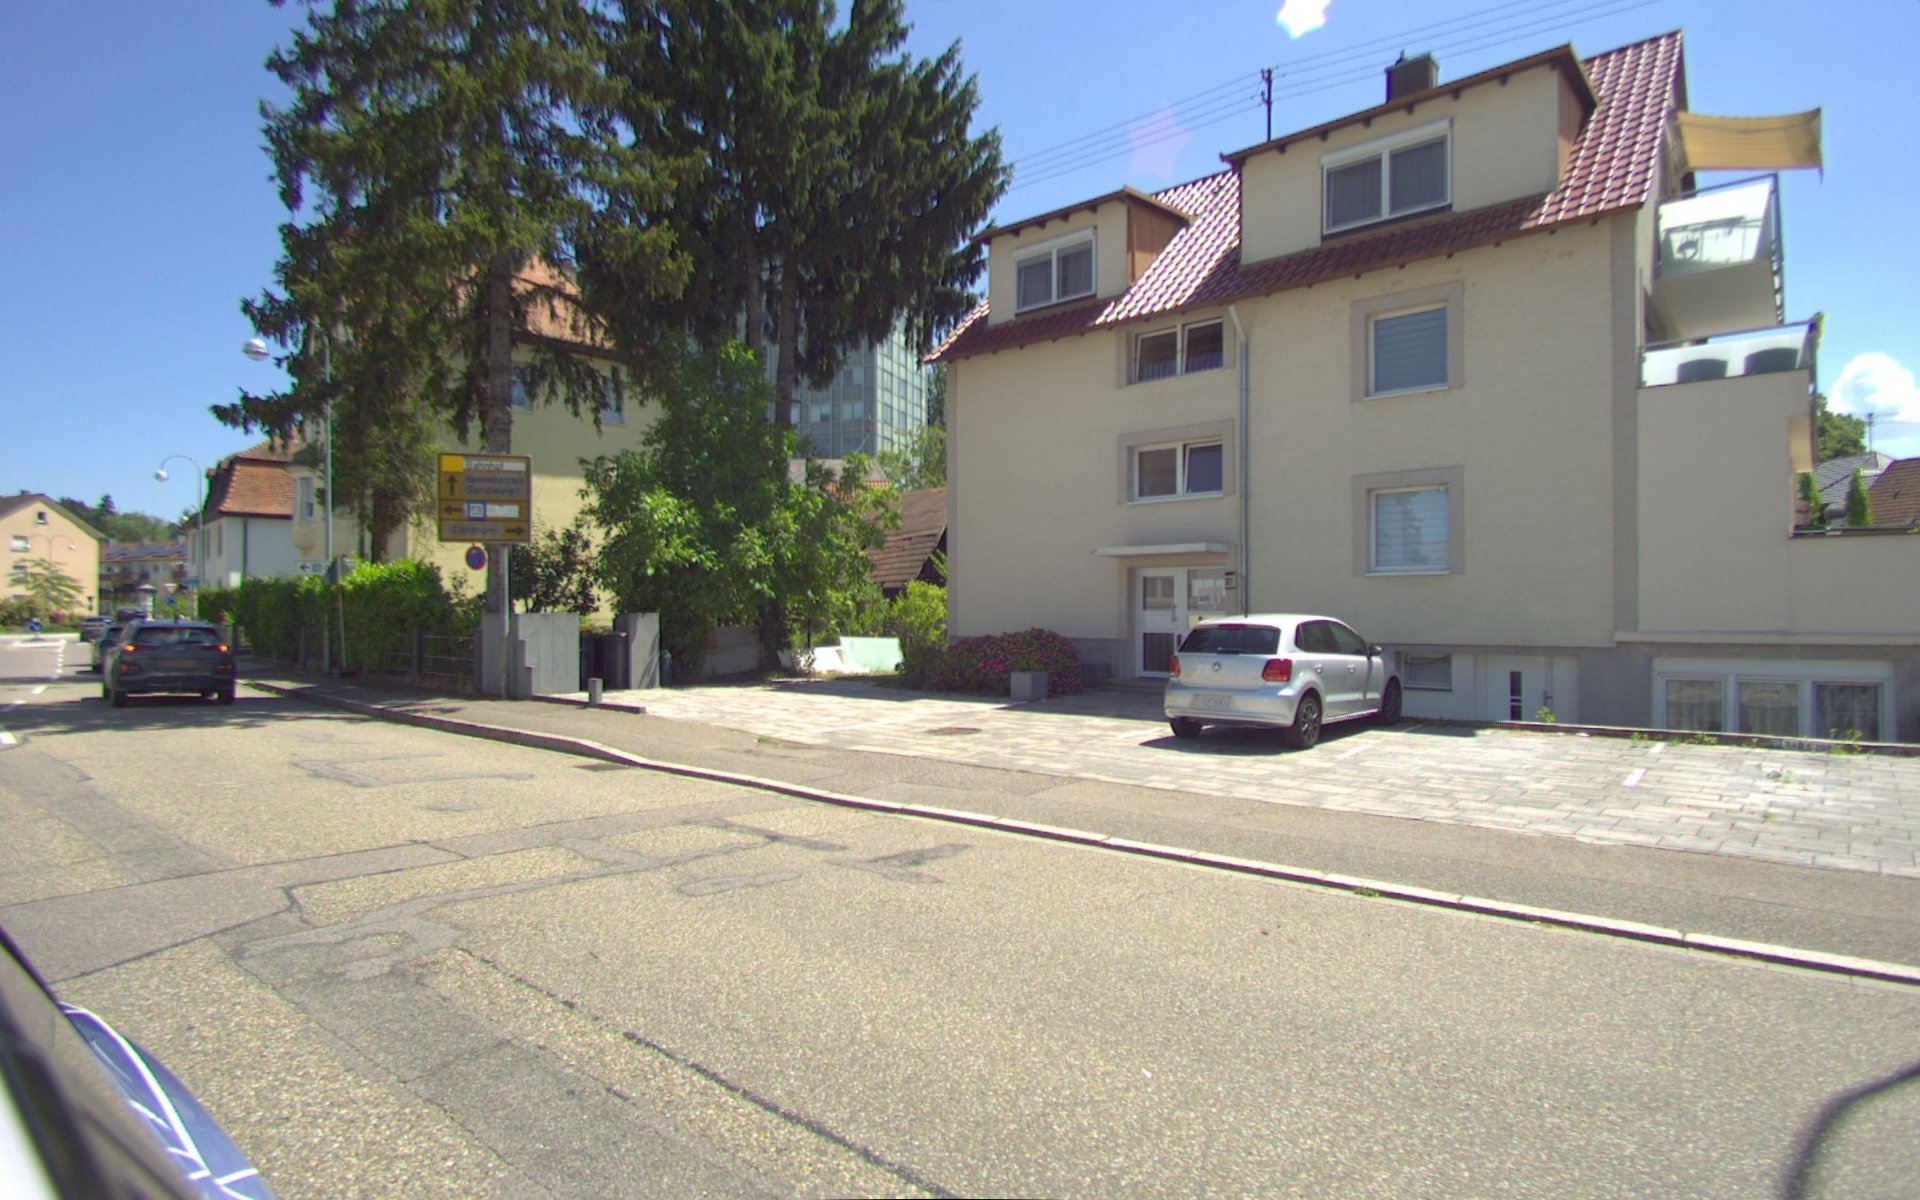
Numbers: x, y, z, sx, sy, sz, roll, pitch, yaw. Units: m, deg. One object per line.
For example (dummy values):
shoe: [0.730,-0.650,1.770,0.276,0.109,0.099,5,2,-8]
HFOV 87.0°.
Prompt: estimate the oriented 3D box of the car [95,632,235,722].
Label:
car: [-15.232,1.409,19.312,1.720,1.516,4.147,4,-4,-43]

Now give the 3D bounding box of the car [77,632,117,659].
car: [-54.179,2.832,63.539,1.831,1.629,4.302,0,-1,-42]

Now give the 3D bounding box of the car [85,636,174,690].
car: [-25.159,1.864,30.599,1.784,1.500,4.391,3,-4,-42]

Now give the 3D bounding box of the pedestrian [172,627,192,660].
pedestrian: [-38.419,2.136,49.974,0.606,1.576,0.825,-6,3,-44]

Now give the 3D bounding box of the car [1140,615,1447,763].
car: [4.272,0.956,12.556,1.848,1.452,4.418,-2,-1,44]
